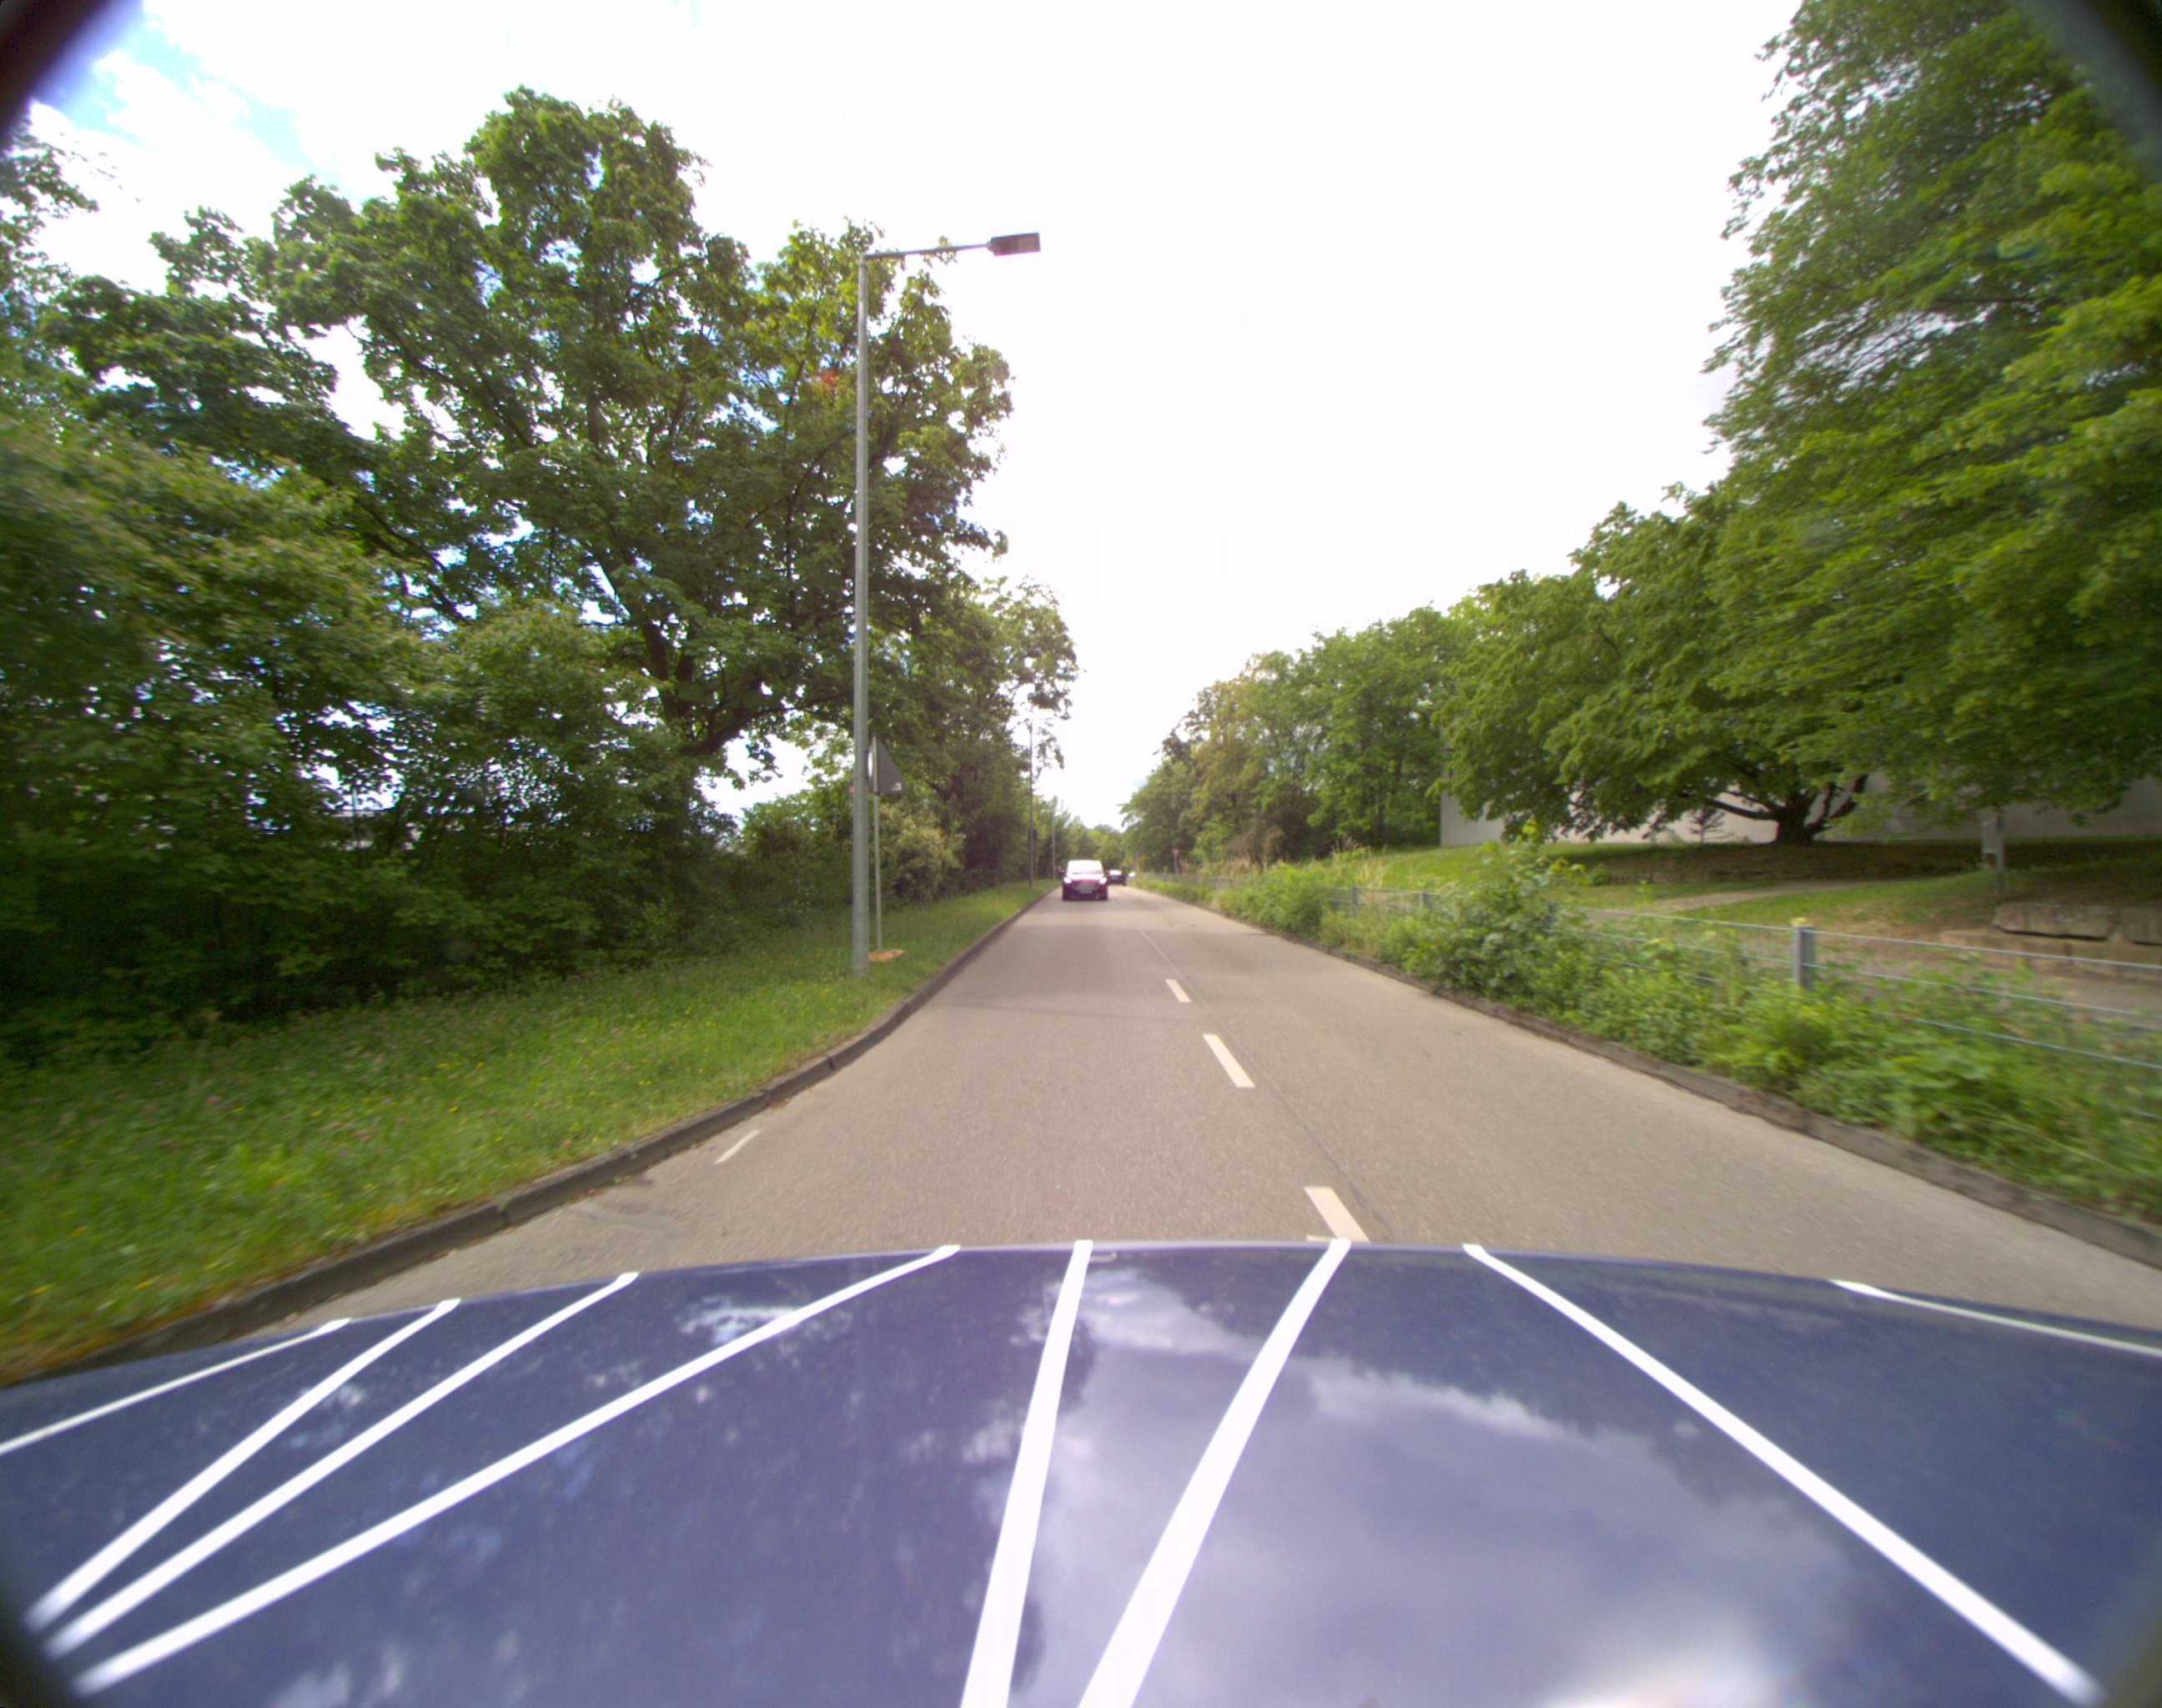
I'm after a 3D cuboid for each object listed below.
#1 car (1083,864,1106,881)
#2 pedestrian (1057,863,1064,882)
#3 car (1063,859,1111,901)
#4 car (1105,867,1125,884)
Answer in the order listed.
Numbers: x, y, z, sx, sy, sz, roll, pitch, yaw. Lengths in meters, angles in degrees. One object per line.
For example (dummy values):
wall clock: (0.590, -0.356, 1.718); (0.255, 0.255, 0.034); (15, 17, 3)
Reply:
car: (1.365, 1.796, 74.012); (1.998, 1.586, 4.001); (0, 0, 4)
pedestrian: (-1.926, 1.781, 72.289); (0.675, 1.825, 0.606); (0, 0, -3)
car: (0.262, 1.047, 32.412); (1.861, 1.608, 4.476); (-2, 0, 1)
car: (2.950, 1.844, 65.944); (1.620, 1.324, 4.001); (0, -1, 1)
